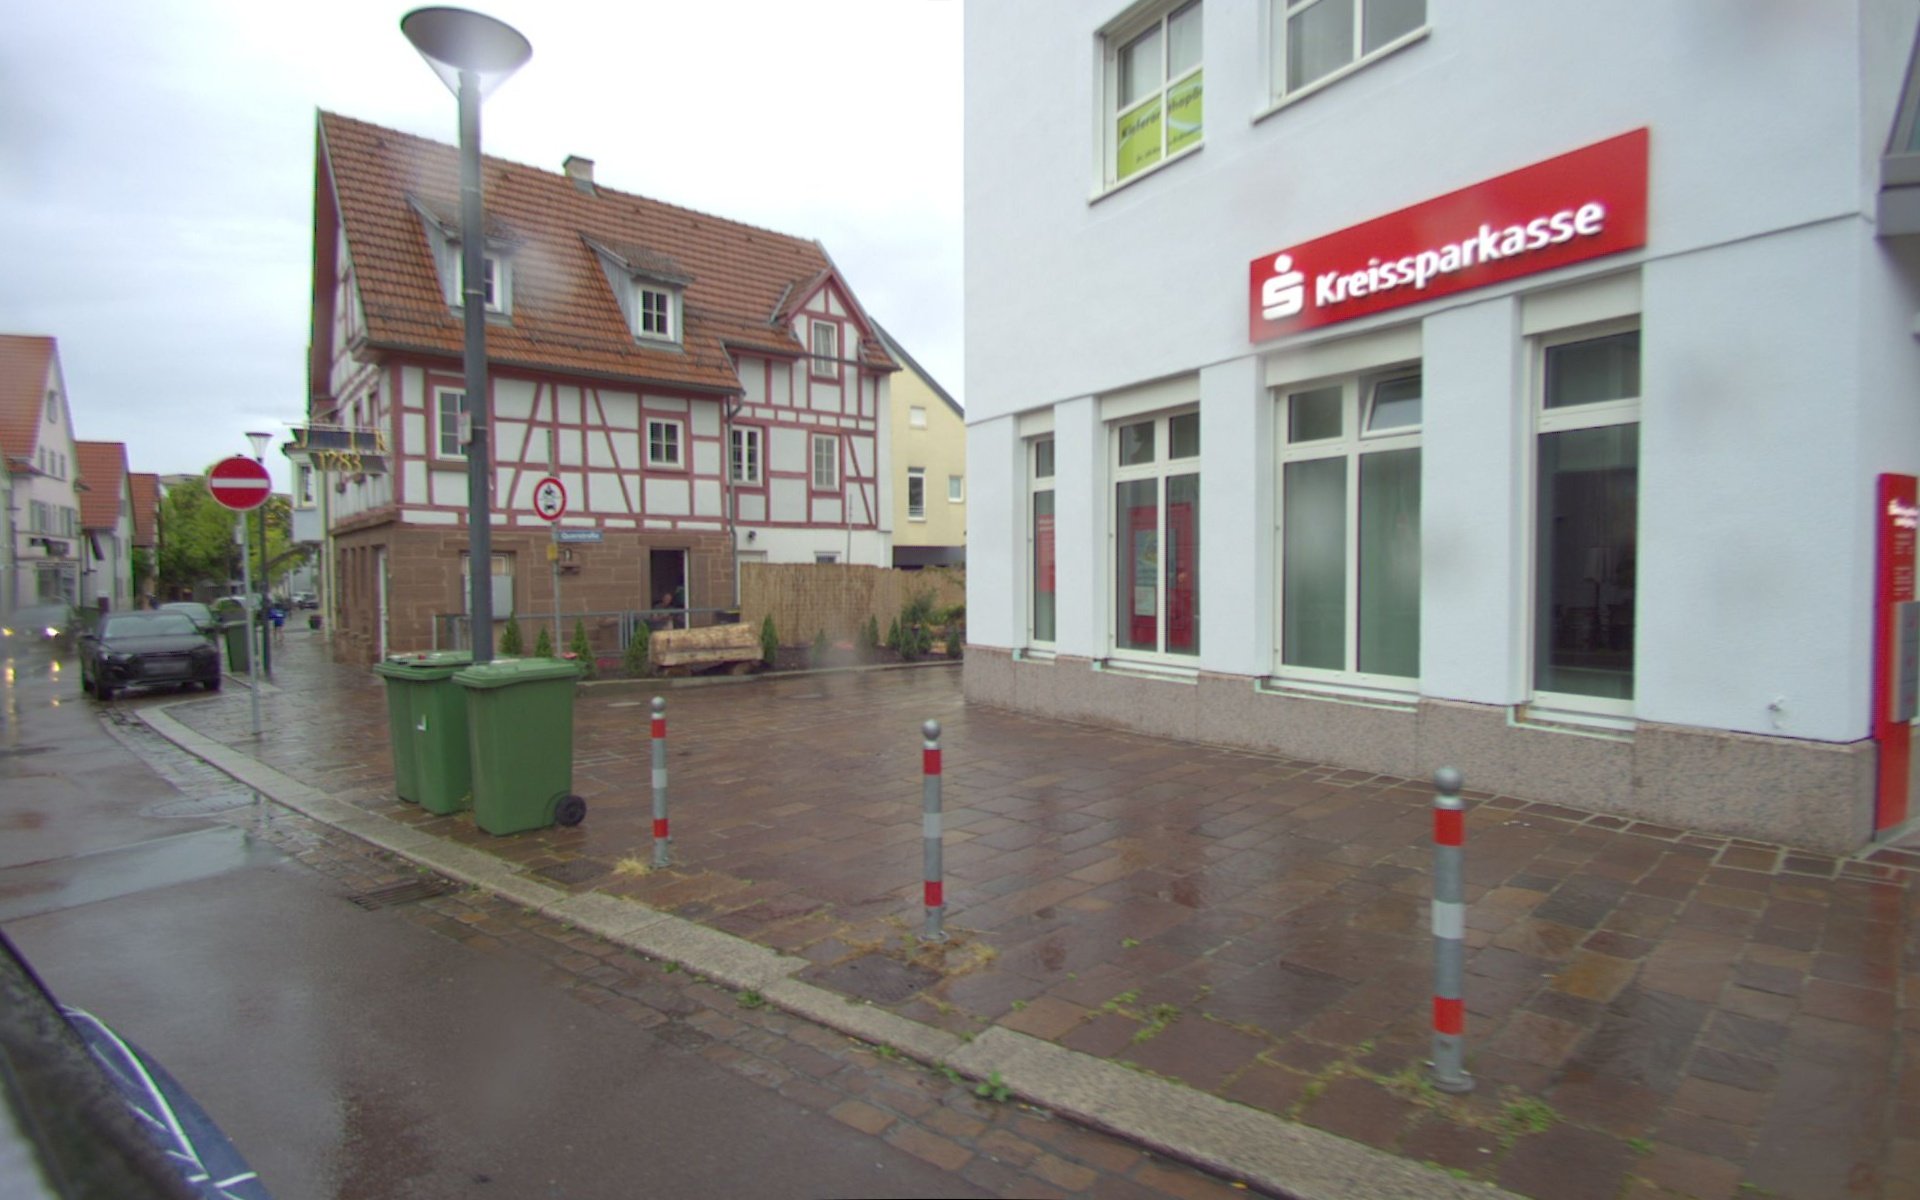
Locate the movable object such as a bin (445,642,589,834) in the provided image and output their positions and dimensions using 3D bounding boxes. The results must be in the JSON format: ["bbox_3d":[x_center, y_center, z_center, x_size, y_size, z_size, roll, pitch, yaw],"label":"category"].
[{"bbox_3d":[-2.835,0.841,6.482,0.613,1.104,0.651,0,0,44],"label":"movable object such as a bin"}]

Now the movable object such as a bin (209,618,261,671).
[{"bbox_3d":[-16.136,0.978,22.526,0.823,1.120,0.920,-1,0,-43],"label":"movable object such as a bin"}]

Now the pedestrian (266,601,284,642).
[{"bbox_3d":[-22.602,0.696,33.381,0.448,1.317,0.518,-2,0,-34],"label":"pedestrian"}]

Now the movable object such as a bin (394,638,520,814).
[{"bbox_3d":[-3.537,0.850,7.123,0.651,1.123,0.553,-1,0,-44],"label":"movable object such as a bin"}]

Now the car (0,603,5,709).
[{"bbox_3d":[-14.309,0.831,13.770,1.711,1.567,3.851,-1,0,-41],"label":"car"}]

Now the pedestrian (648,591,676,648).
[{"bbox_3d":[-6.143,0.395,20.862,0.406,1.163,0.425,-1,0,-41],"label":"pedestrian"}]

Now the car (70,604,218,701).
[{"bbox_3d":[-14.926,0.860,18.438,1.670,1.497,4.003,-4,2,-44],"label":"car"}]

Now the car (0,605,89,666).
[{"bbox_3d":[-29.282,1.079,32.167,1.967,1.763,4.010,-1,0,-34],"label":"car"}]

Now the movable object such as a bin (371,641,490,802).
[{"bbox_3d":[-3.943,0.875,7.543,0.651,1.090,0.553,-1,0,-44],"label":"movable object such as a bin"}]

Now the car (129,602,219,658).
[{"bbox_3d":[-24.824,0.883,32.103,1.967,1.540,4.010,-4,2,-35],"label":"car"}]
